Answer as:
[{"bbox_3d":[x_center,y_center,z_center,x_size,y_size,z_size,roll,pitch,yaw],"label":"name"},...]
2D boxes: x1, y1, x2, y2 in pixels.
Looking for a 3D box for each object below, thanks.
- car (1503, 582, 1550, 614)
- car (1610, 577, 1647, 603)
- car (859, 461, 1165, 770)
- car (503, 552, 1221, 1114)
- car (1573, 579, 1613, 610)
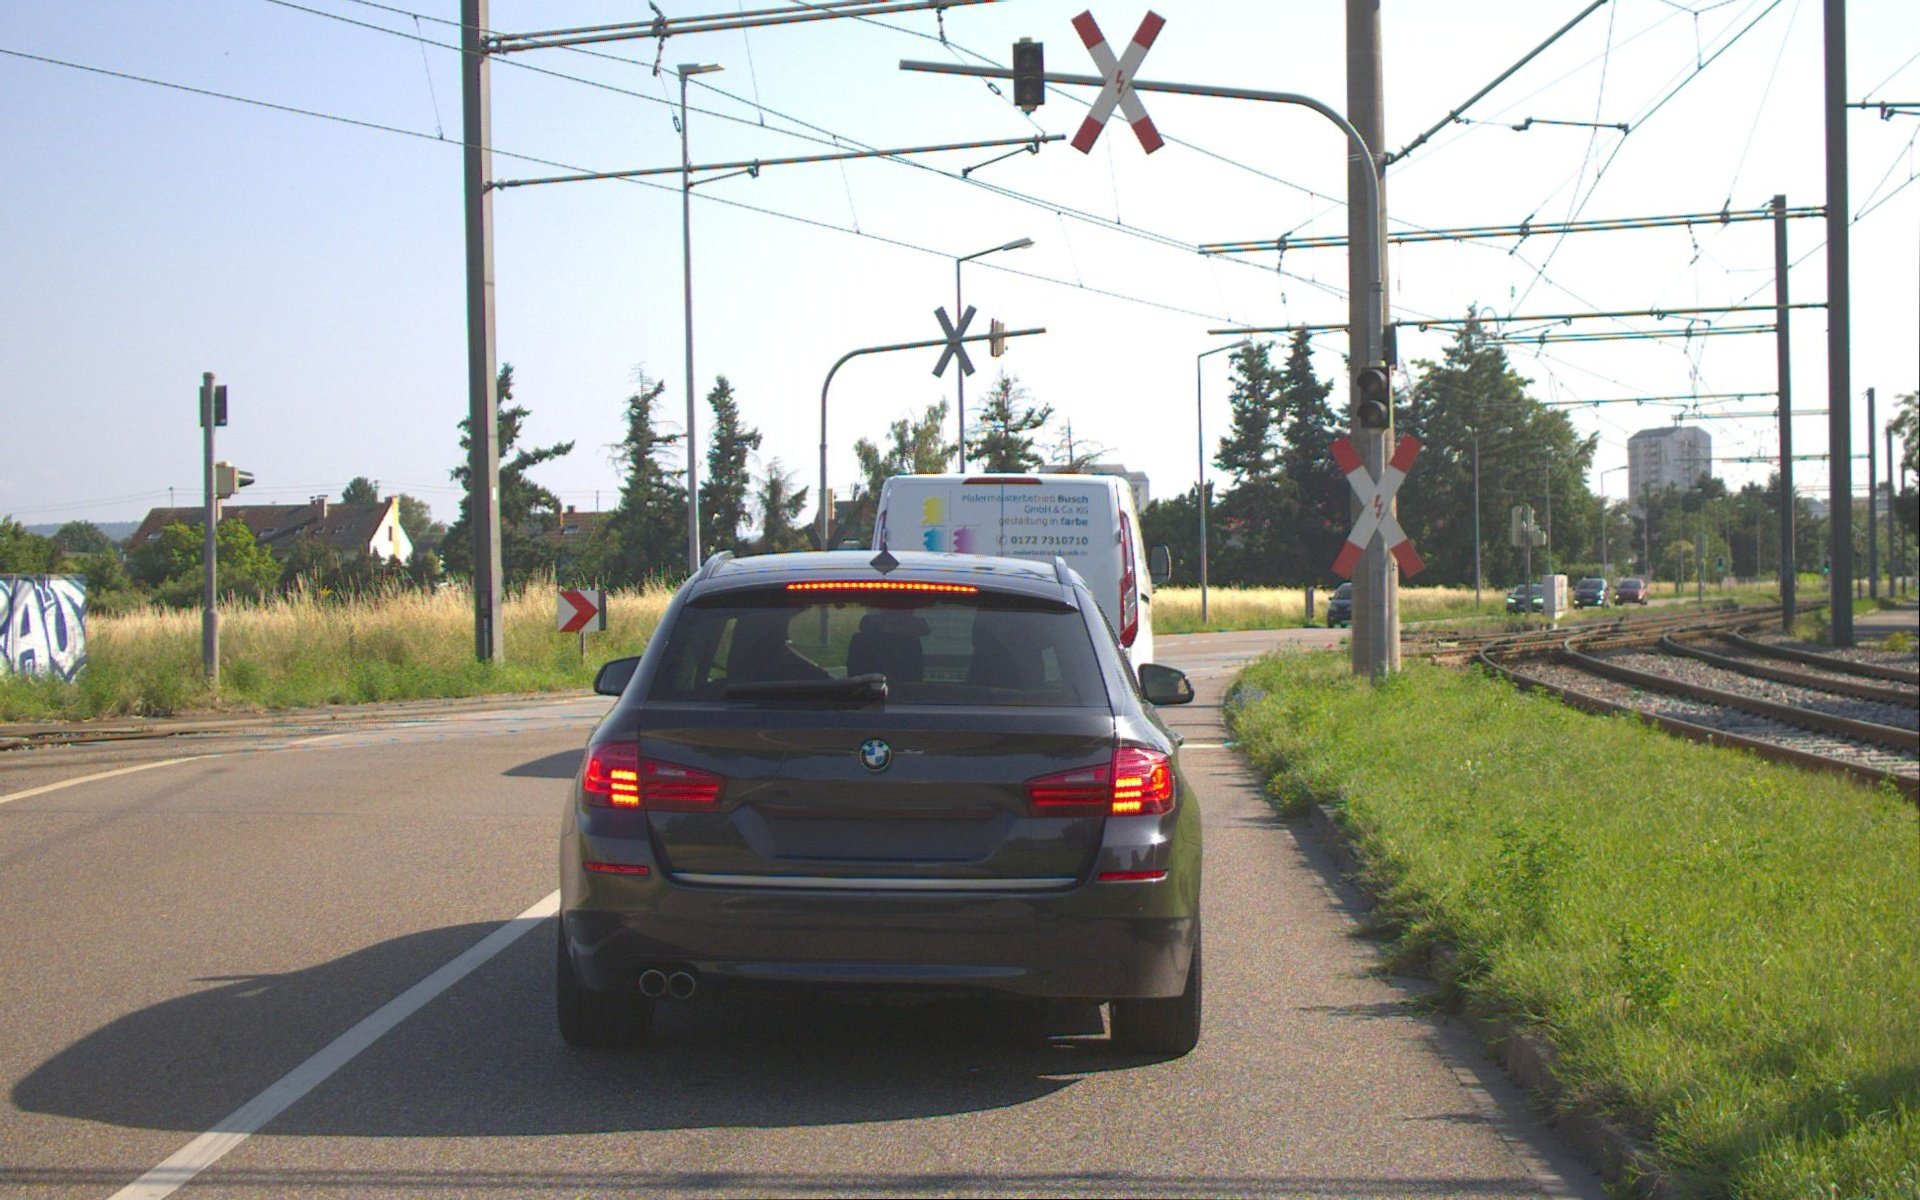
[{"bbox_3d":[26.384,-0.091,160.071,1.694,1.435,4.280,1,1,16],"label":"car"},{"bbox_3d":[40.032,-0.589,205.881,1.714,1.544,3.925,0,1,17],"label":"car"},{"bbox_3d":[0.485,0.072,24.674,1.858,1.981,5.107,0,1,5],"label":"car"},{"bbox_3d":[-0.277,0.577,11.345,1.869,1.447,4.744,0,1,0],"label":"car"},{"bbox_3d":[34.565,-0.317,187.624,1.707,1.659,4.586,0,1,16],"label":"car"}]
